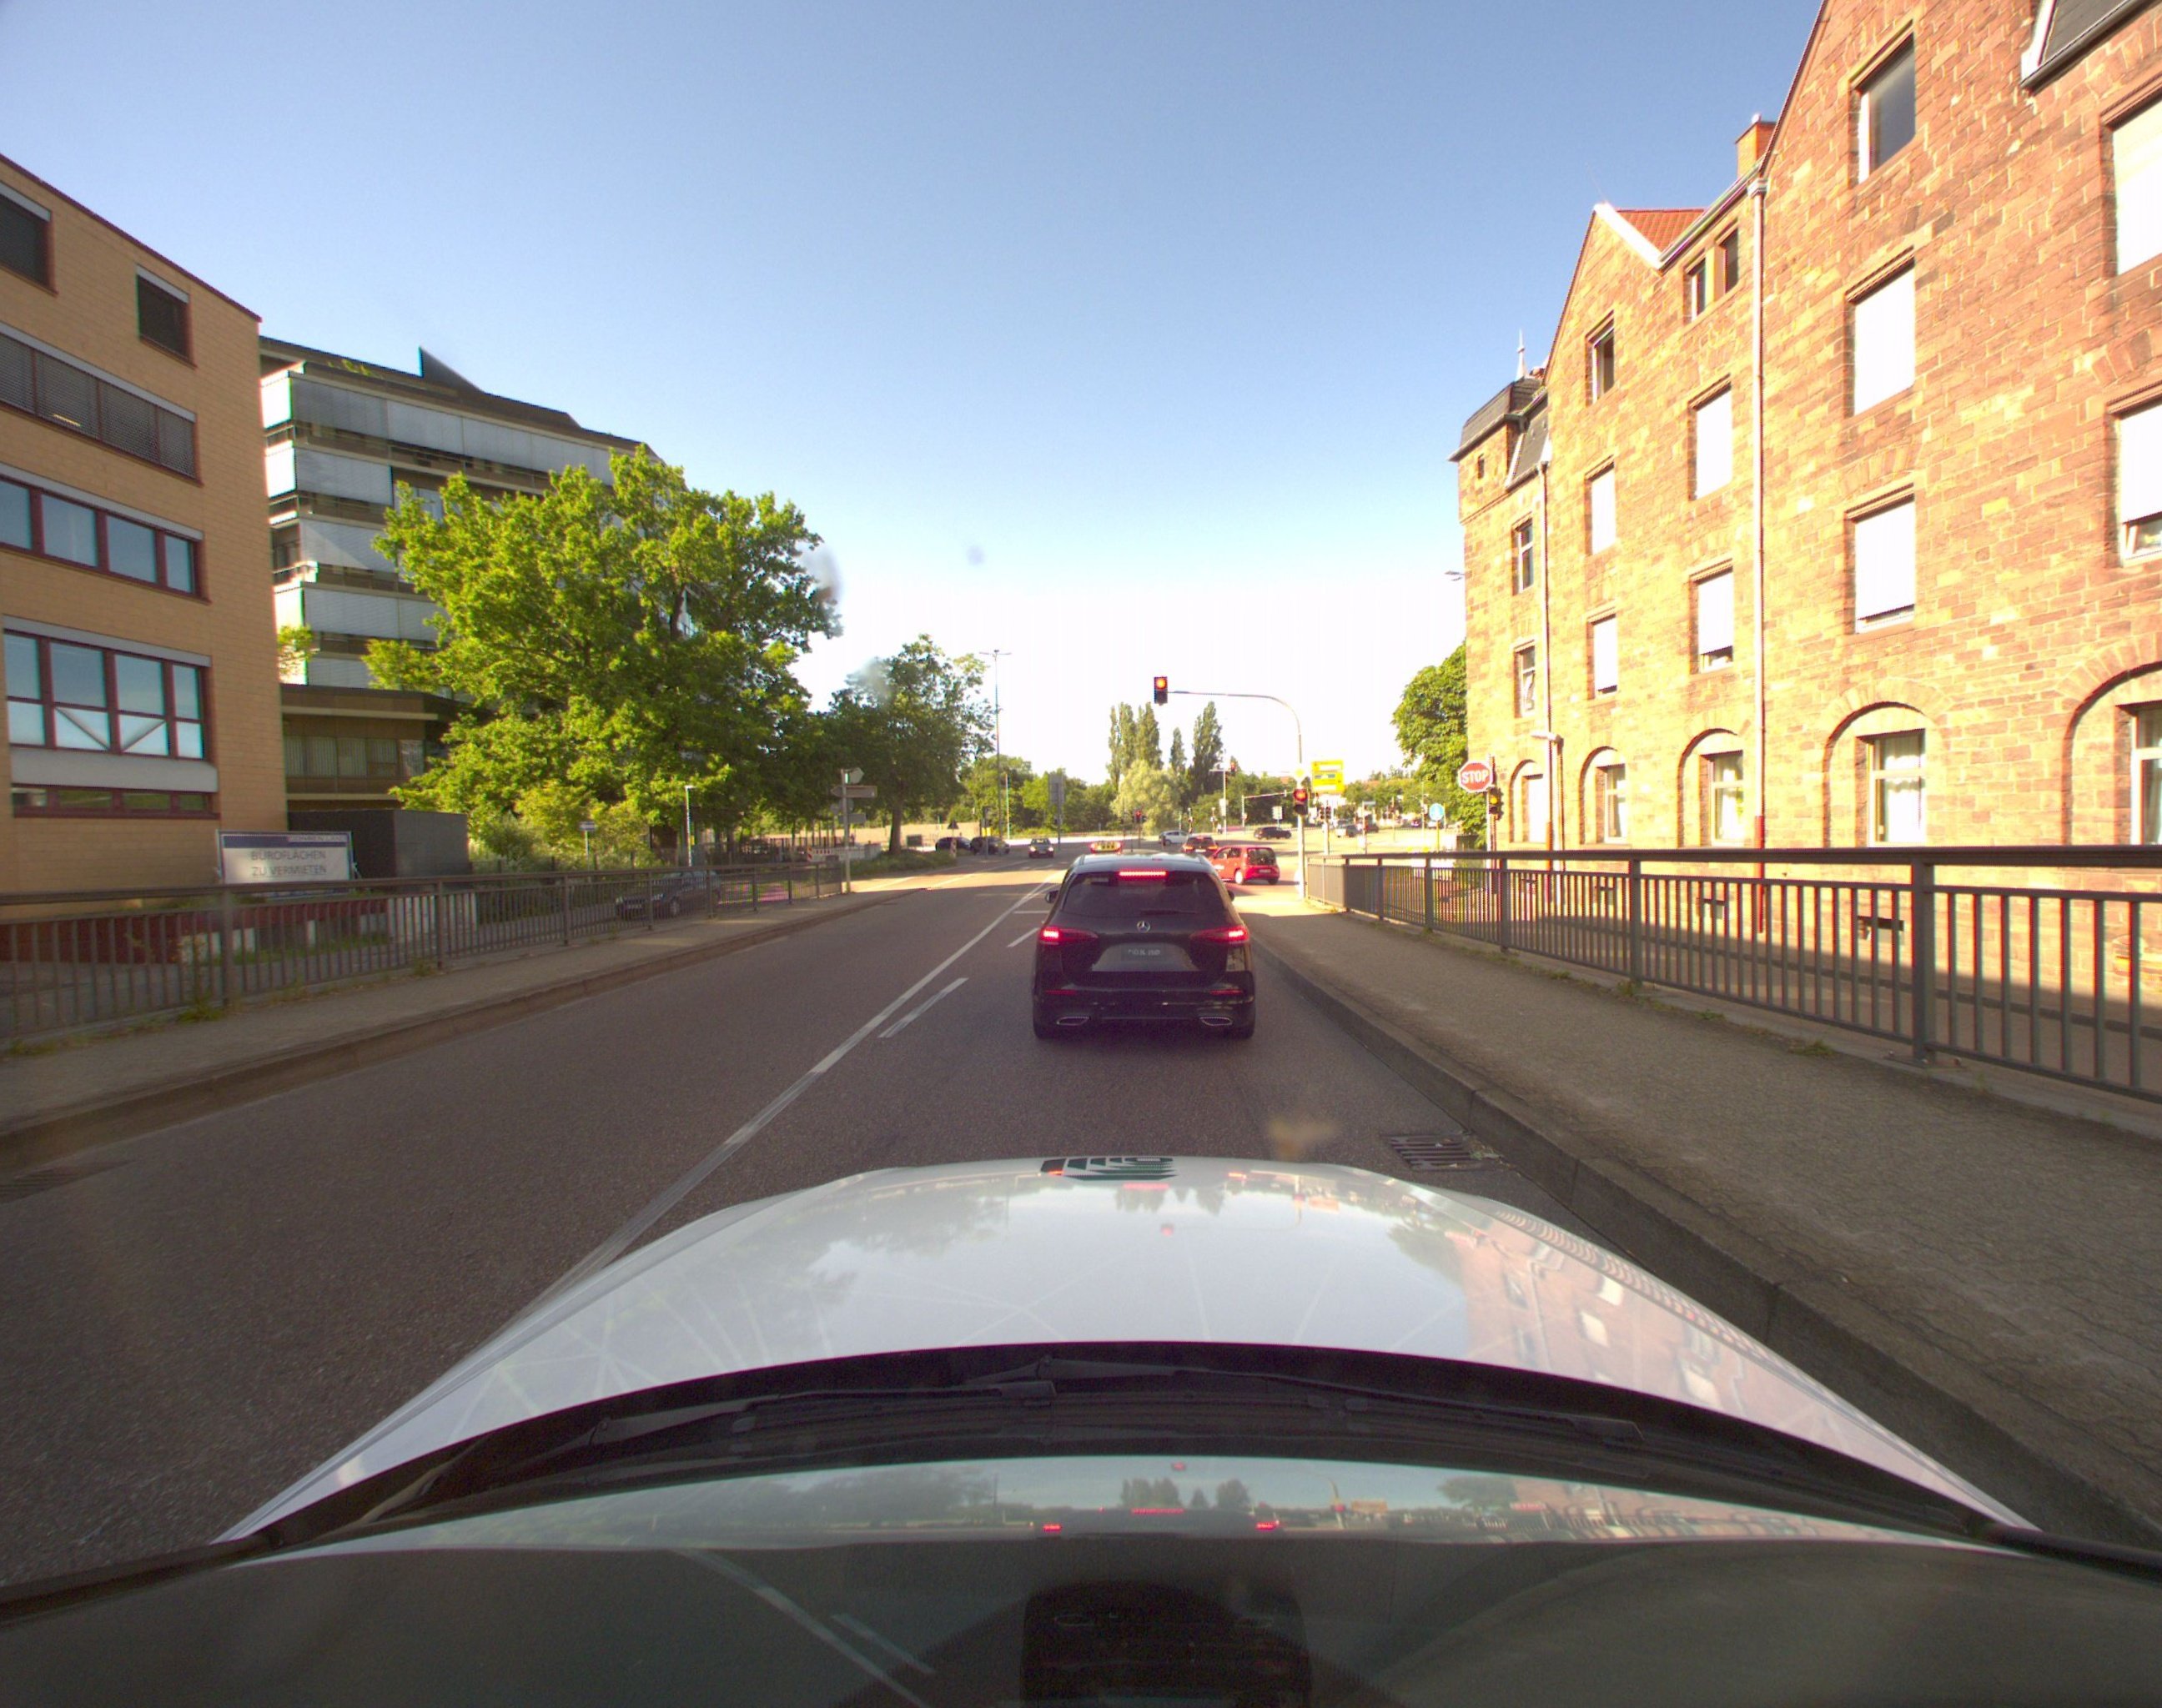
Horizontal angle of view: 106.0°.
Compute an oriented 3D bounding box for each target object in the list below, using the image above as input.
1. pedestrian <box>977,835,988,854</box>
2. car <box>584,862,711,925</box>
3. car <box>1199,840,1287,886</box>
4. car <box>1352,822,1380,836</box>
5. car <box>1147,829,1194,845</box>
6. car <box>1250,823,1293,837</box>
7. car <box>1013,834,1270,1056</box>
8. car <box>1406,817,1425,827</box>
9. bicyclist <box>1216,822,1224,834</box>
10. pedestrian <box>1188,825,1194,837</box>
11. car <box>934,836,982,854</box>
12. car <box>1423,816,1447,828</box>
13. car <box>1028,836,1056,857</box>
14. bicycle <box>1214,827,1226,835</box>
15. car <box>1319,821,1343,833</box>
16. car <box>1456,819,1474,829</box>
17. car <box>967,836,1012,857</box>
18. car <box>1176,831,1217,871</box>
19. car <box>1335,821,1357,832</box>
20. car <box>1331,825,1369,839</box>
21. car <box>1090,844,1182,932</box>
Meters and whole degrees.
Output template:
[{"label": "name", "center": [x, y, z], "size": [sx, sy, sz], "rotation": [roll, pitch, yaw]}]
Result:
[{"label": "pedestrian", "center": [-8.295, -0.788, 68.397], "size": [0.700, 1.525, 0.746], "rotation": [-1, 1, 12]}, {"label": "car", "center": [-13.948, 1.205, 26.508], "size": [1.844, 1.692, 4.002], "rotation": [-2, 2, 2]}, {"label": "car", "center": [6.137, 0.300, 31.232], "size": [1.728, 1.521, 3.462], "rotation": [-3, 3, -21]}, {"label": "car", "center": [35.726, -3.124, 101.931], "size": [1.974, 1.455, 4.582], "rotation": [-1, 3, 36]}, {"label": "car", "center": [8.863, -1.738, 80.744], "size": [4.293, 1.365, 1.997], "rotation": [-3, 2, -5]}, {"label": "car", "center": [21.096, -2.674, 90.113], "size": [4.610, 1.294, 1.868], "rotation": [-4, 3, -31]}, {"label": "car", "center": [0.505, 0.649, 7.955], "size": [1.871, 1.613, 4.002], "rotation": [0, 1, 2]}, {"label": "car", "center": [49.415, -4.713, 120.362], "size": [1.764, 1.357, 4.105], "rotation": [-1, 3, 34]}, {"label": "bicyclist", "center": [18.628, -3.480, 109.127], "size": [0.521, 1.551, 0.812], "rotation": [-2, 1, 44]}, {"label": "pedestrian", "center": [14.522, -2.987, 107.296], "size": [0.446, 1.585, 0.504], "rotation": [-2, 1, 42]}, {"label": "car", "center": [-12.000, -0.896, 79.256], "size": [4.347, 1.592, 1.935], "rotation": [-1, 2, 30]}, {"label": "car", "center": [48.607, -4.450, 111.817], "size": [1.974, 1.441, 4.855], "rotation": [-1, 3, 35]}, {"label": "car", "center": [-2.939, -0.558, 60.122], "size": [1.740, 1.407, 4.191], "rotation": [-2, 2, -7]}, {"label": "bicycle", "center": [18.637, -3.070, 109.146], "size": [0.521, 1.050, 2.002], "rotation": [-2, 2, 44]}, {"label": "car", "center": [35.078, -3.767, 114.112], "size": [1.860, 1.578, 4.026], "rotation": [-1, 2, 38]}, {"label": "car", "center": [59.994, -4.690, 127.272], "size": [1.974, 1.441, 4.323], "rotation": [-1, 3, 33]}, {"label": "car", "center": [-8.103, -0.676, 71.732], "size": [3.951, 1.623, 1.821], "rotation": [4, 4, 43]}, {"label": "car", "center": [5.922, -0.195, 42.110], "size": [1.714, 1.811, 4.302], "rotation": [1, 3, 3]}, {"label": "car", "center": [38.776, -4.016, 119.184], "size": [1.860, 1.578, 4.026], "rotation": [-1, 2, 38]}, {"label": "car", "center": [29.618, -2.433, 89.566], "size": [4.620, 1.294, 1.976], "rotation": [-5, 3, -42]}, {"label": "car", "center": [1.140, 0.606, 16.834], "size": [1.632, 1.529, 3.478], "rotation": [-3, 1, 4]}]
